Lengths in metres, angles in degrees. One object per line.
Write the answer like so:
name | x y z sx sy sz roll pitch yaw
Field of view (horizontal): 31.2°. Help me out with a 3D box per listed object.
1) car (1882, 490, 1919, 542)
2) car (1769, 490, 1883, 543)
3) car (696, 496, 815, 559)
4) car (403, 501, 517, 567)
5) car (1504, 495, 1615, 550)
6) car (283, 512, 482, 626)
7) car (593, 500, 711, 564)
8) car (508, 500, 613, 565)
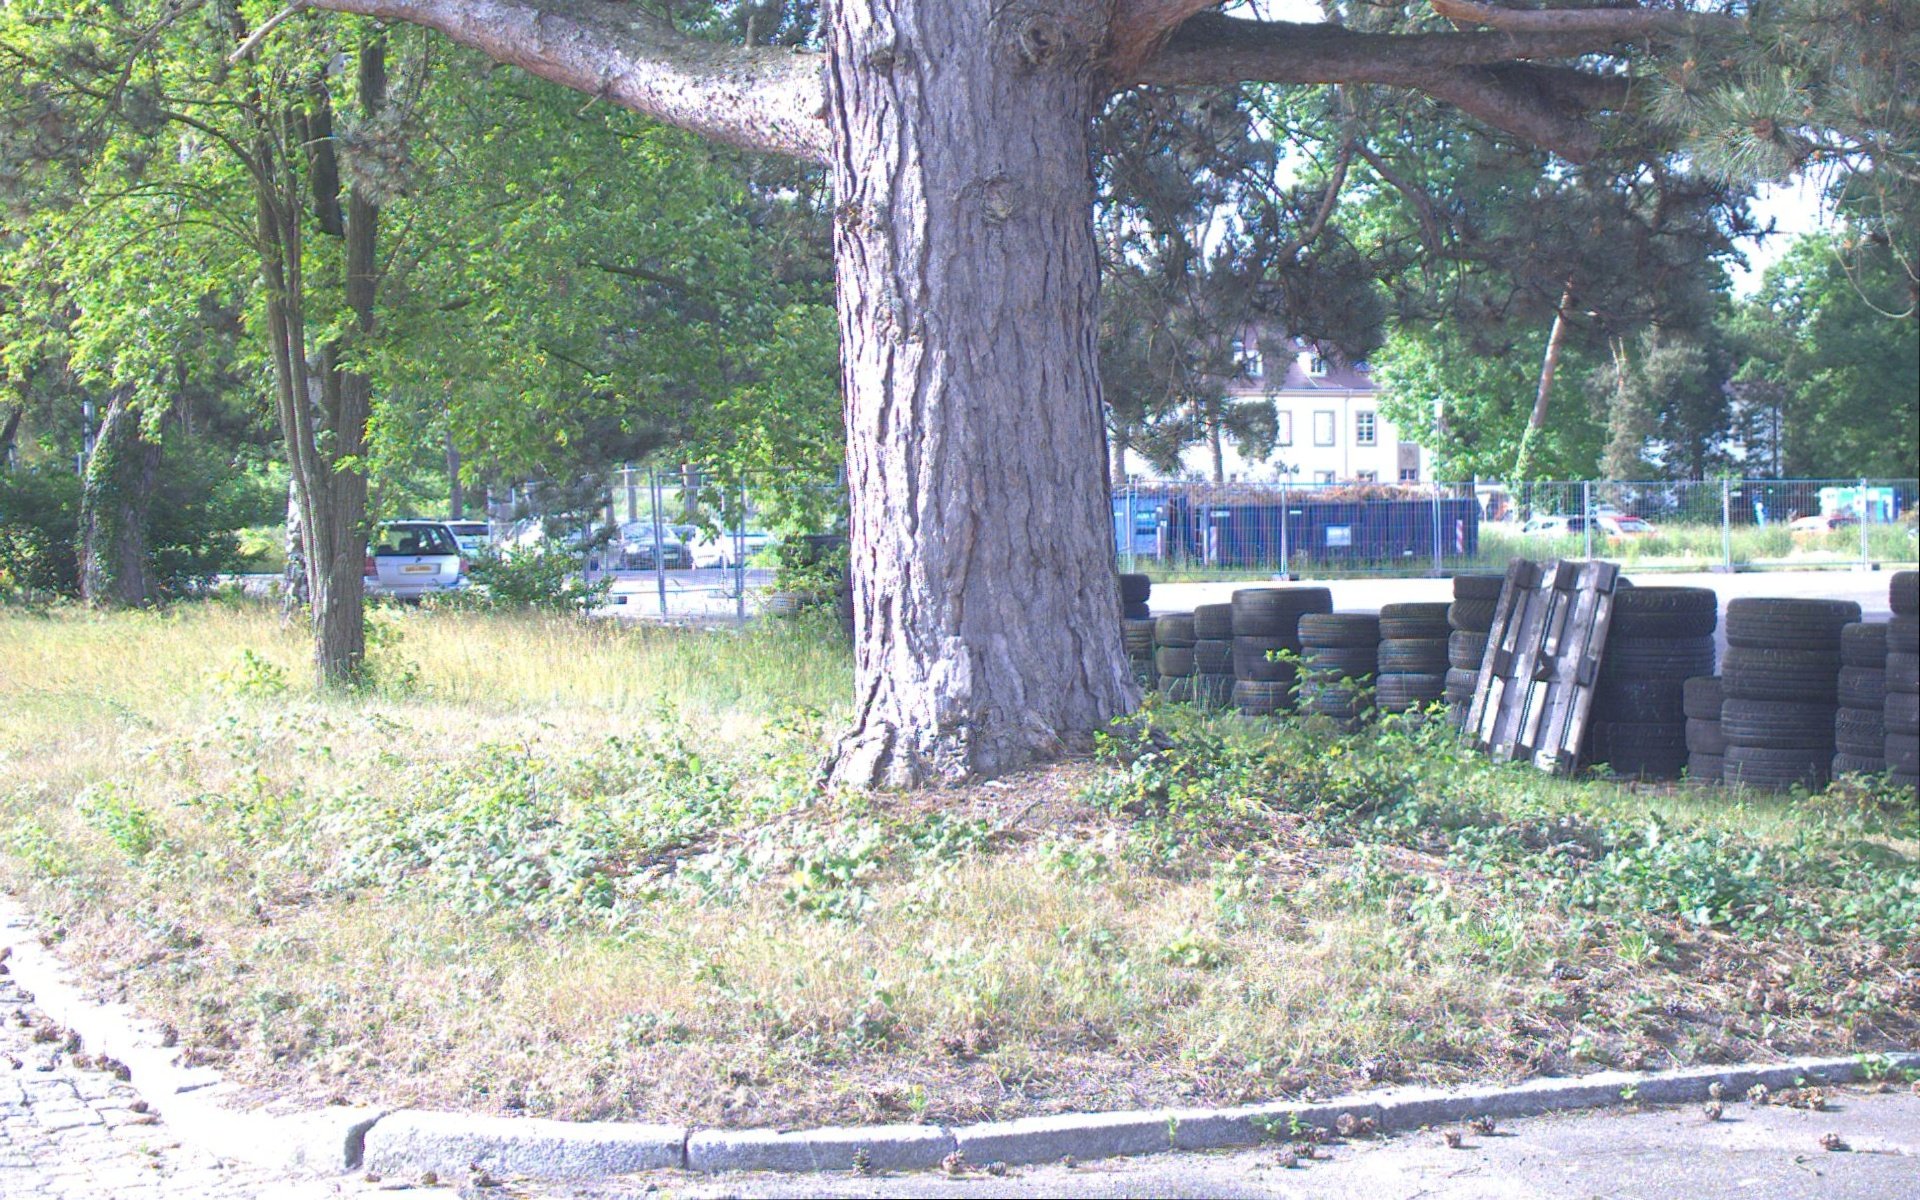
car | 33.590 -2.896 118.148 1.993 1.744 4.001 -1 2 -14
car | 29.261 -2.828 116.287 1.993 1.744 4.001 -1 2 -16
car | -5.455 -1.917 91.138 1.993 1.612 4.001 -1 2 -21
car | -12.735 -1.693 87.361 1.993 1.612 4.001 -1 2 -21
car | 19.636 -2.540 112.738 1.993 1.744 4.001 -1 2 -17
car | -8.249 -0.473 48.872 1.886 1.535 4.001 -1 2 -23
car | -8.071 -1.796 89.782 1.993 1.612 4.001 -1 2 -21
car | -10.321 -1.739 88.588 1.820 1.612 4.001 -1 2 -20
